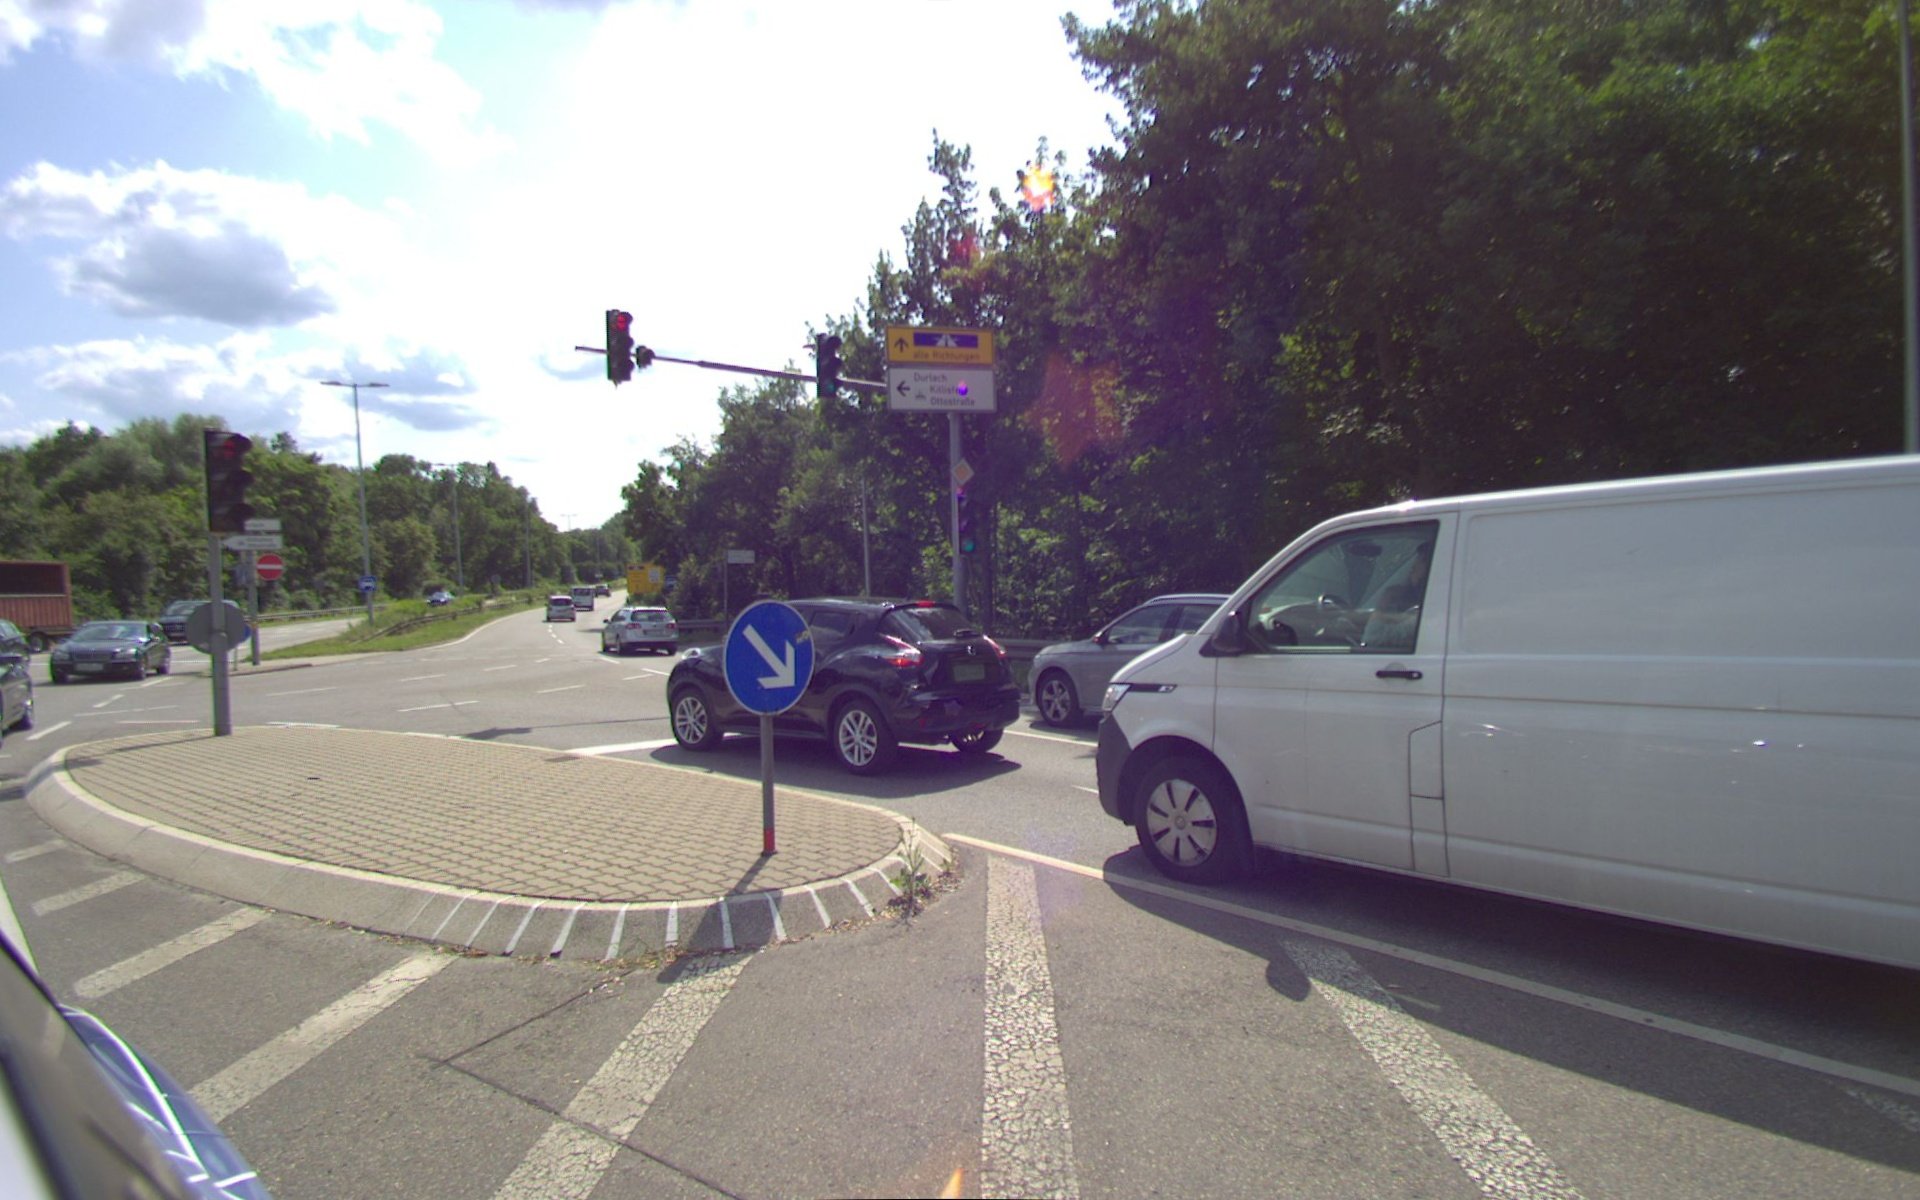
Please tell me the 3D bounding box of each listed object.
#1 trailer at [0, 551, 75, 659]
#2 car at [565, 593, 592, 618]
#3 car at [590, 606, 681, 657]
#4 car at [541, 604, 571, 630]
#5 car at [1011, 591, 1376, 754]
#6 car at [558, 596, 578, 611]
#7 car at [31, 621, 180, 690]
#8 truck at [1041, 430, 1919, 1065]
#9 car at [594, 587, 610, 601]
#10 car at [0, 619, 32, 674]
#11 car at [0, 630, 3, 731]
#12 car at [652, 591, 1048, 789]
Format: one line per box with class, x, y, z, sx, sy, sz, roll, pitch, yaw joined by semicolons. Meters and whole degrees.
trailer;-35.428;0.247;33.544;2.736;3.879;12.342;-2;1;-8
car;-31.633;0.447;83.828;1.965;2.029;5.152;1;0;-22
car;-10.333;0.970;32.018;1.659;1.489;4.726;1;-1;-32
car;-25.588;1.061;64.073;1.708;1.532;4.081;0;-1;-22
car;2.403;0.697;11.227;1.503;1.495;3.829;0;-1;-39
car;-38.273;0.298;98.871;1.559;1.443;4.012;0;0;-17
car;-20.803;1.281;24.841;1.827;1.421;4.013;-2;0;-26
truck;2.991;0.451;4.430;1.937;1.927;5.376;-1;0;-42
car;-44.386;-0.716;125.586;1.686;1.598;4.295;0;0;-17
car;-25.754;1.251;25.476;1.828;1.421;4.011;-2;0;-15
car;-12.905;1.110;12.160;1.831;1.373;4.006;0;0;-41
car;-1.197;0.746;9.962;3.819;1.569;1.681;-1;0;40
